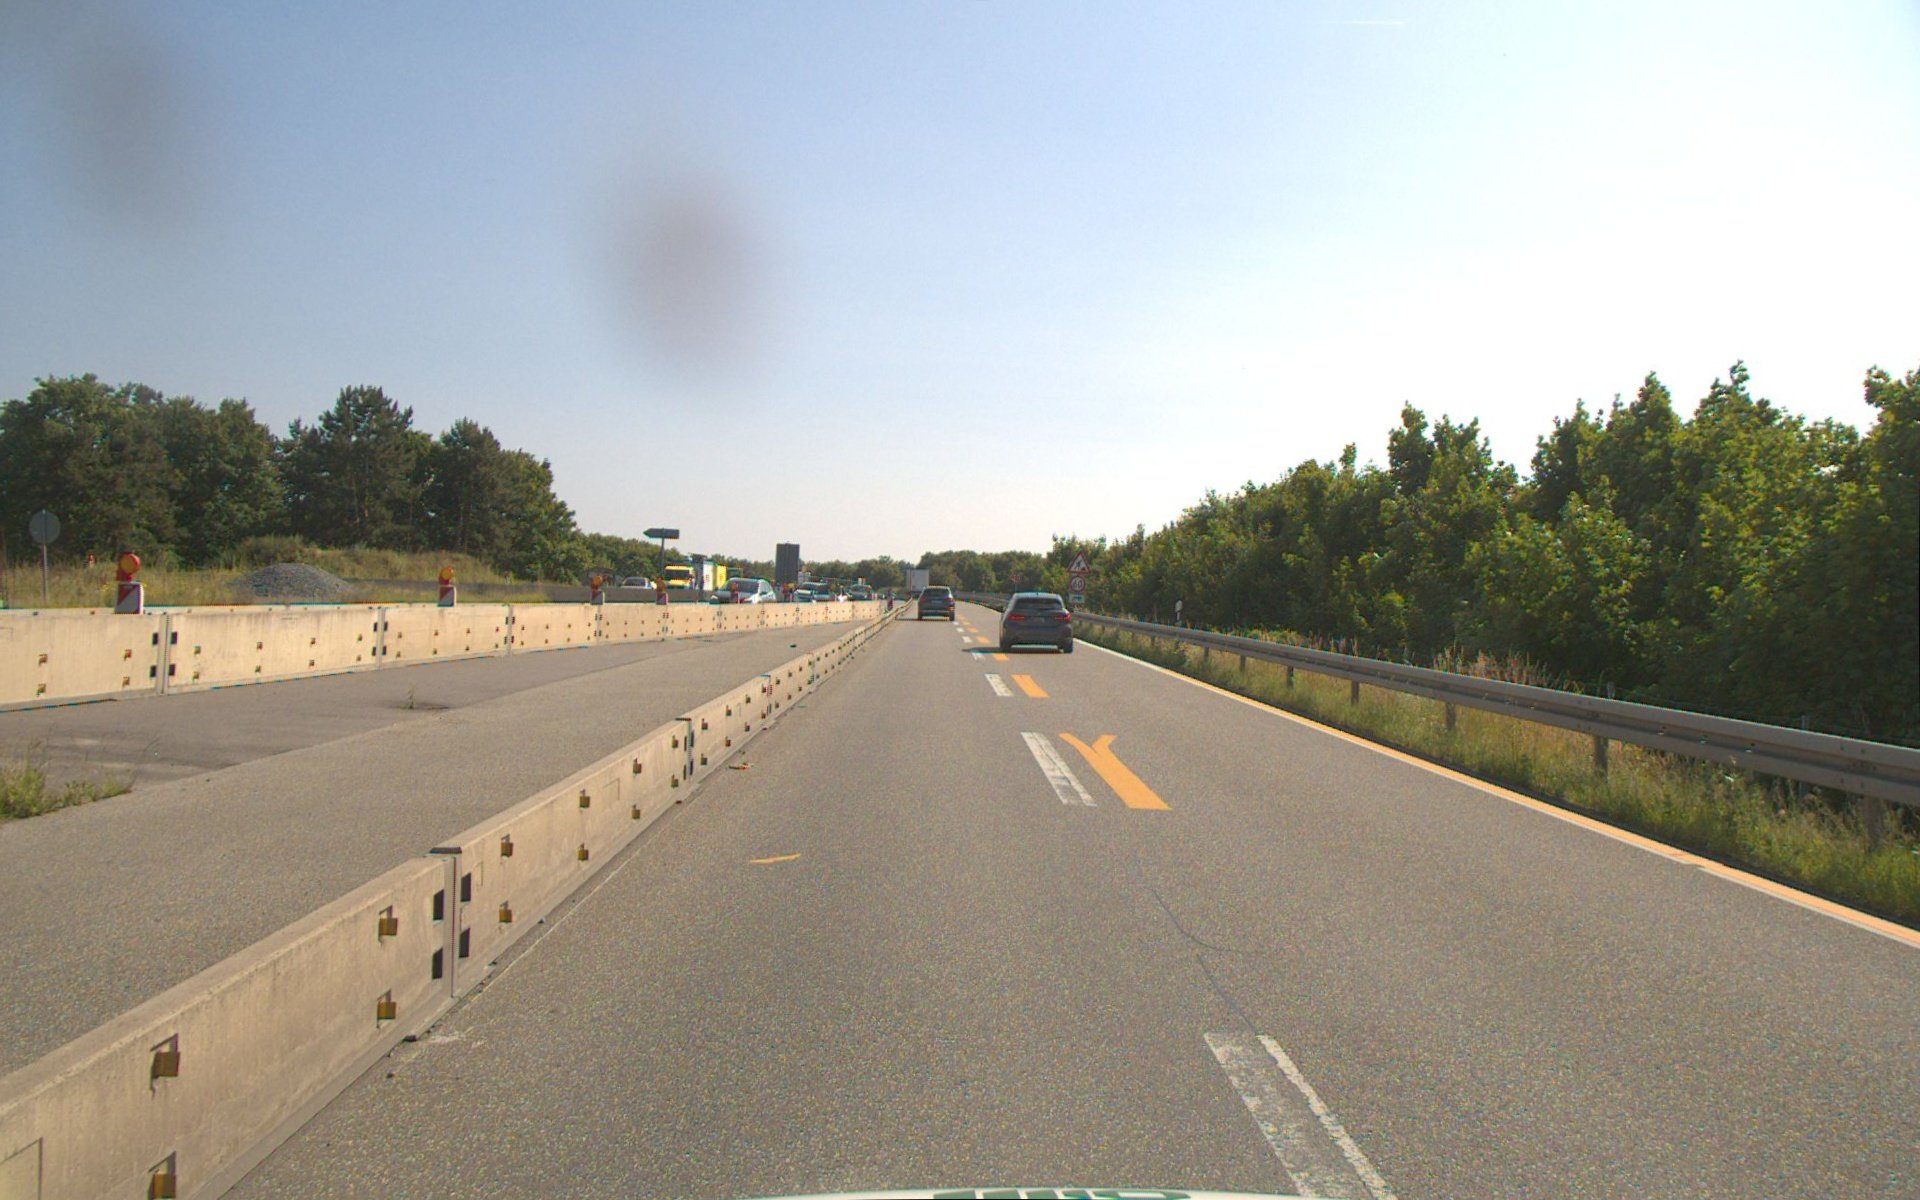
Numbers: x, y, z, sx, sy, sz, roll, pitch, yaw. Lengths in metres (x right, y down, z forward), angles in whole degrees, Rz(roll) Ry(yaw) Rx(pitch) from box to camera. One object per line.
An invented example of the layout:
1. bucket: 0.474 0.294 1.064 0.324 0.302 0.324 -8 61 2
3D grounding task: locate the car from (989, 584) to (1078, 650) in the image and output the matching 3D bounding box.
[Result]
1. car: 1.814 0.399 41.994 1.882 1.520 3.999 2 1 -2

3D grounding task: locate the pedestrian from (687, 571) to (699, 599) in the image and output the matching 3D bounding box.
1. pedestrian: -17.630 -1.001 109.288 0.728 1.852 0.795 2 0 -12

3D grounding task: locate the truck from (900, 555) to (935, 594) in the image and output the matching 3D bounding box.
1. truck: -5.856 -3.421 224.172 3.688 4.996 14.123 2 1 -5

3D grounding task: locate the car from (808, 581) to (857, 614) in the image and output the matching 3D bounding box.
1. car: -6.342 -0.124 82.667 1.675 1.542 4.181 2 0 6

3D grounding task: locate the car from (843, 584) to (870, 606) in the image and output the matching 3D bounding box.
1. car: -8.121 -0.422 129.937 1.953 1.650 4.847 1 1 -2

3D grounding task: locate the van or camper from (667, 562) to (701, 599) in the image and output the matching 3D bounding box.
1. van or camper: -19.051 -1.377 114.403 1.955 2.419 6.193 2 0 -6

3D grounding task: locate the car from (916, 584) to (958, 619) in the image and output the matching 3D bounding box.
1. car: -1.081 0.061 78.969 1.953 1.594 4.000 1 1 0

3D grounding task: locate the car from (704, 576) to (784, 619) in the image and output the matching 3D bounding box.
1. car: -8.158 -0.101 62.873 1.951 1.542 4.584 2 0 6
